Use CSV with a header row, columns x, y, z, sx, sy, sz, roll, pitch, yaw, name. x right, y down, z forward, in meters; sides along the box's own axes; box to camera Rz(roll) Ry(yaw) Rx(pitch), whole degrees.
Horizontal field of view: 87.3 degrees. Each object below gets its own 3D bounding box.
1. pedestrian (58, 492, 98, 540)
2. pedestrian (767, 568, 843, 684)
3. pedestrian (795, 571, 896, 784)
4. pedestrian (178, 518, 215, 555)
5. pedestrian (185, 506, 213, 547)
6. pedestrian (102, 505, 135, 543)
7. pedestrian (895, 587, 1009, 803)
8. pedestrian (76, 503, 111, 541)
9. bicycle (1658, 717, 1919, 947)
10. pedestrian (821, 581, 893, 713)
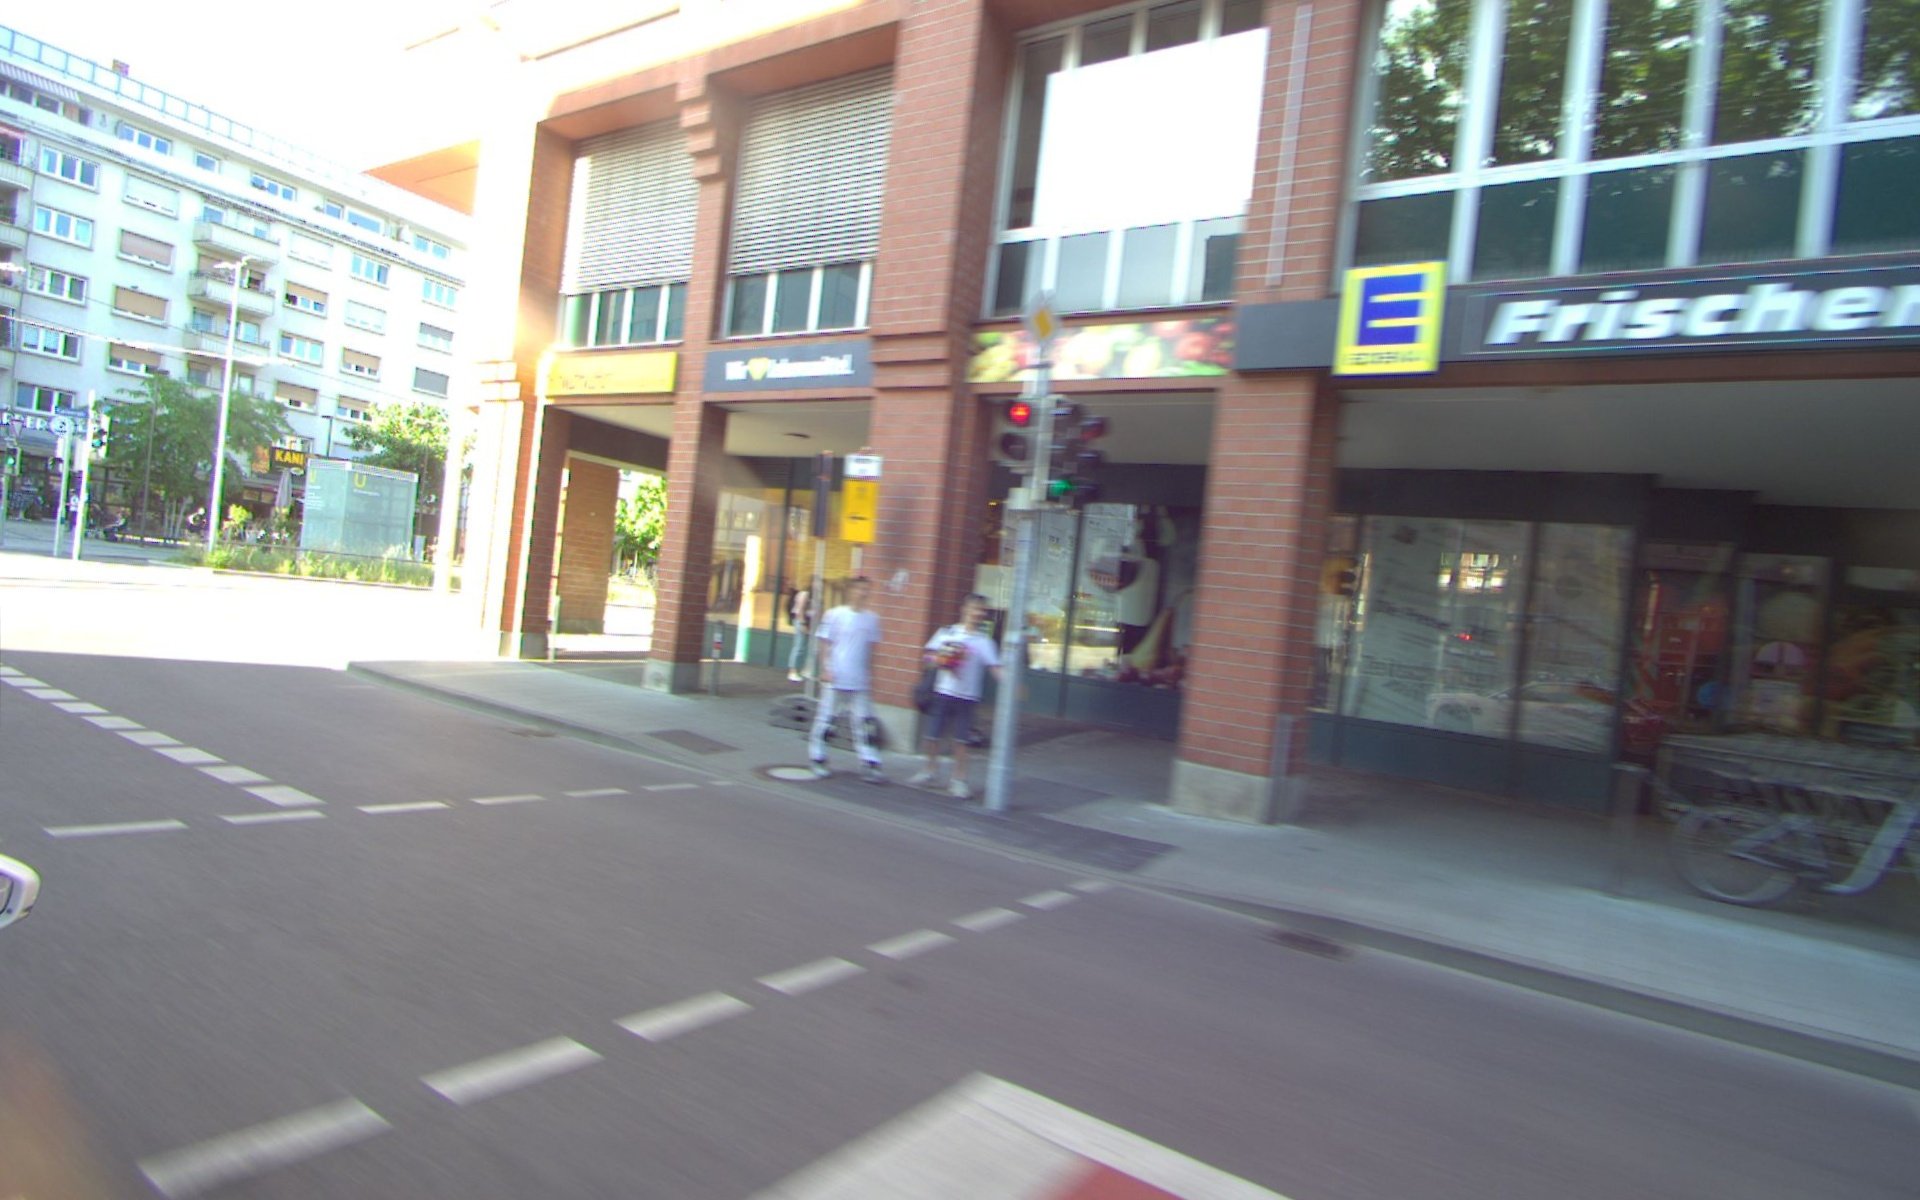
x,y,z,sx,sy,sz,roll,pitch,yaw,name
-37.928,-3.616,43.246,0.677,1.889,1.042,7,1,35,pedestrian
-2.381,0.403,15.472,0.784,1.682,0.600,7,0,33,pedestrian
-1.025,0.685,9.034,0.532,1.815,0.476,7,1,33,pedestrian
-32.323,-2.700,42.591,1.088,1.382,0.720,7,1,25,pedestrian
-35.798,-3.458,47.317,0.704,1.767,0.682,6,1,23,pedestrian
-34.988,-3.147,41.835,0.712,1.437,0.923,7,1,-25,pedestrian
-0.080,0.798,8.668,0.627,1.746,0.627,6,0,-21,pedestrian
-35.891,-3.220,41.685,0.711,1.464,0.924,7,0,-21,pedestrian
5.920,1.576,6.943,1.683,1.271,0.339,6,1,35,bicycle
-1.366,0.607,13.323,0.741,1.609,0.845,6,0,-7,pedestrian
